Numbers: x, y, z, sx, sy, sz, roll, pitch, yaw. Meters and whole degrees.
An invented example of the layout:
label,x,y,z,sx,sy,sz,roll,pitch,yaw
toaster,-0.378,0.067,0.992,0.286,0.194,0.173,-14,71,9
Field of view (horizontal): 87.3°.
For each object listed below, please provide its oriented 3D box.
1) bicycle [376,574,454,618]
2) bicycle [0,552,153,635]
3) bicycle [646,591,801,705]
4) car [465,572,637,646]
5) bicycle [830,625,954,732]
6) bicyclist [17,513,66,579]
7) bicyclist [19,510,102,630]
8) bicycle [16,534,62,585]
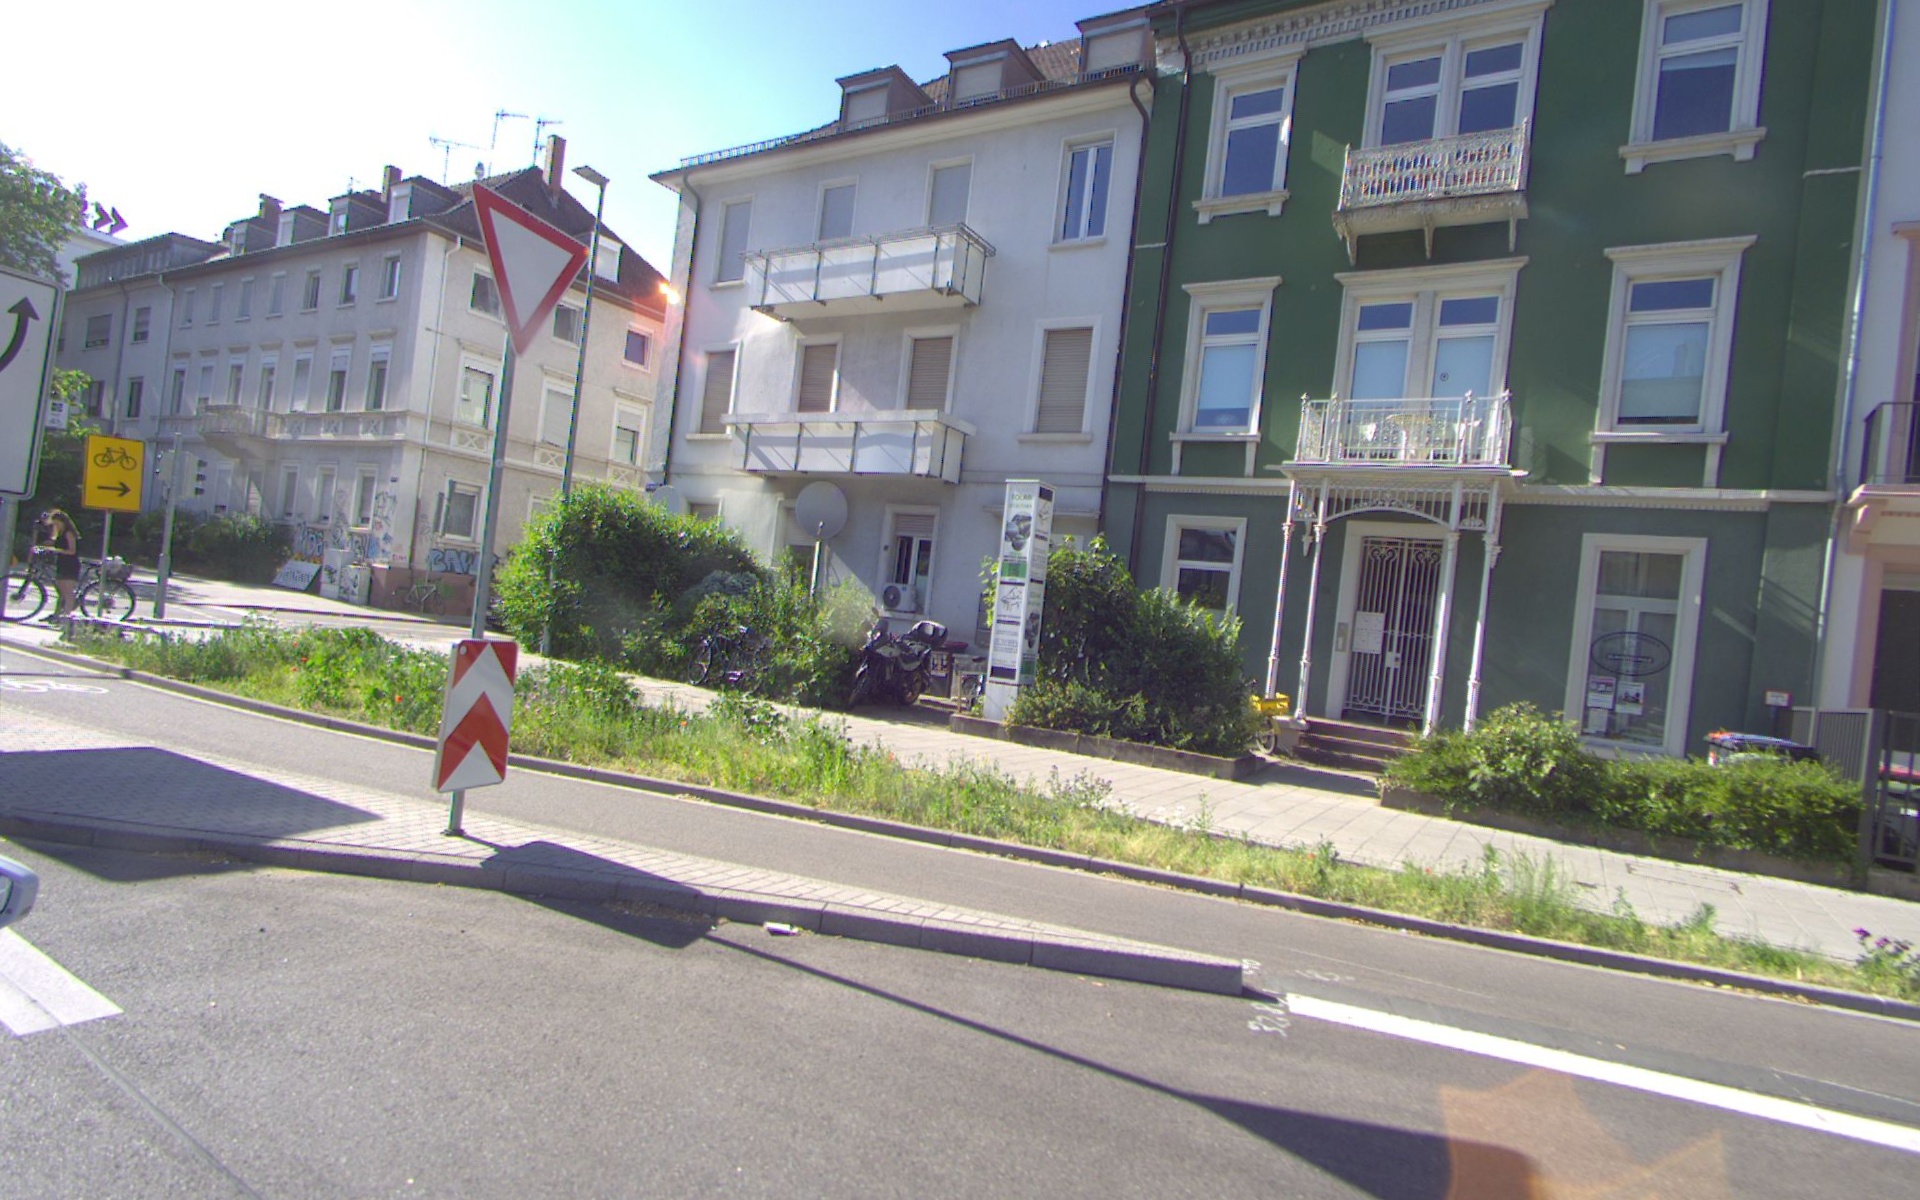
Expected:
label,x,y,z,sx,sy,sz,roll,pitch,yaw
bicycle,-16.798,-0.104,31.066,0.570,1.092,1.999,6,-2,34
bicycle,-13.858,-0.096,15.550,0.595,1.036,1.967,7,-3,32
bicycle,-3.798,0.749,16.049,2.450,1.460,0.709,7,-2,32
car,-12.164,0.305,30.176,1.955,1.637,4.252,5,-3,37
bicycle,-1.016,1.259,15.794,0.628,1.502,2.259,7,-1,31
bicyclist,-23.013,-1.350,25.207,0.860,1.517,0.722,6,-1,44
bicyclist,-13.888,-0.459,15.536,0.844,1.729,0.604,7,0,33
bicycle,-23.104,-1.019,25.224,1.665,1.111,0.687,6,-1,45
